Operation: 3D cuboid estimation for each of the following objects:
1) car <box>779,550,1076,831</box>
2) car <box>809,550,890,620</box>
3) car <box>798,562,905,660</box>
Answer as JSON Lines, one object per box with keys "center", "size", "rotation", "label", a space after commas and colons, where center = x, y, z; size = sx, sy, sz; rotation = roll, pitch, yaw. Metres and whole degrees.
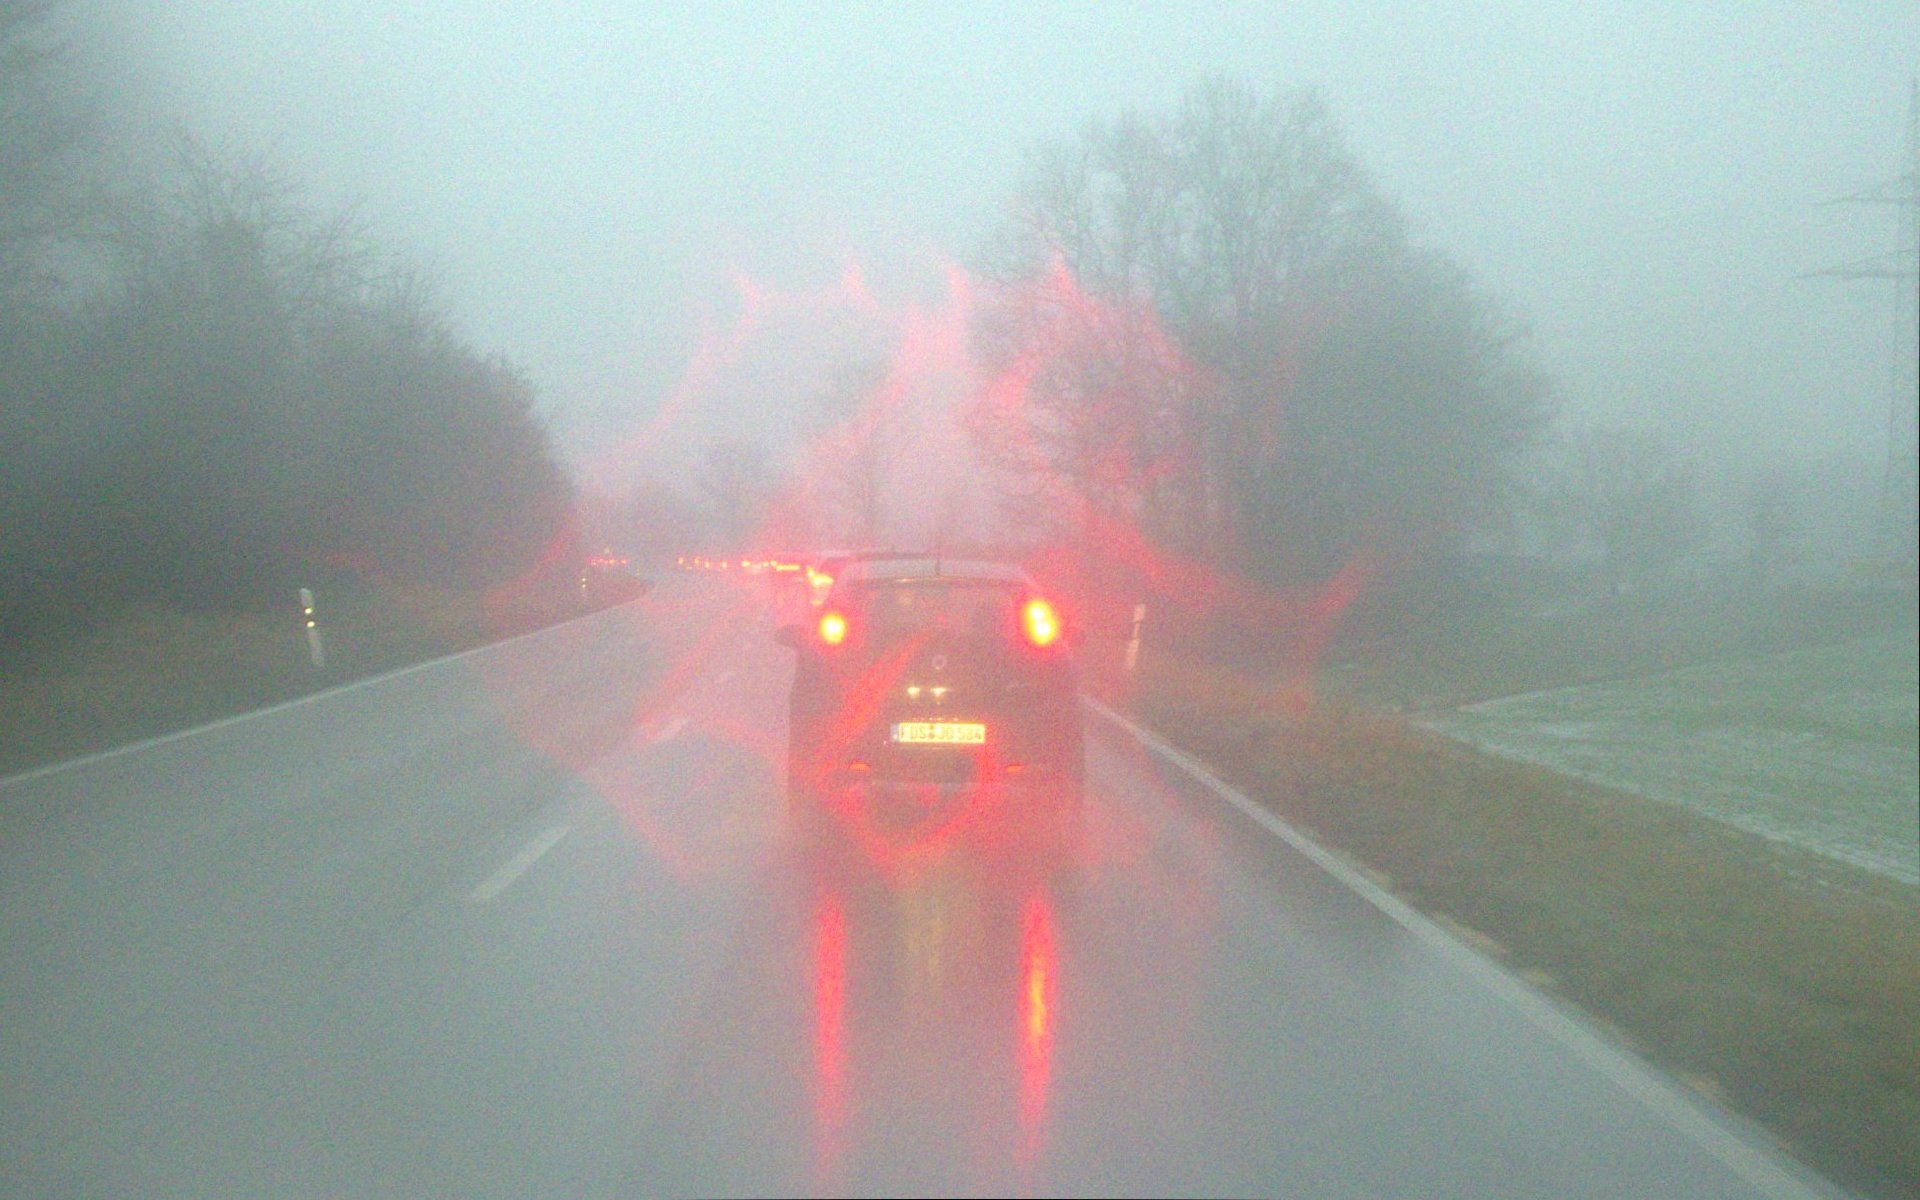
{"center": [-0.146, 0.473, 20.750], "size": [1.602, 1.517, 3.869], "rotation": [1, 1, 1], "label": "car"}
{"center": [-2.303, -0.329, 72.221], "size": [1.547, 1.392, 3.869], "rotation": [1, 1, 0], "label": "car"}
{"center": [-1.642, 0.139, 52.074], "size": [1.547, 1.392, 3.870], "rotation": [1, 1, -2], "label": "car"}
